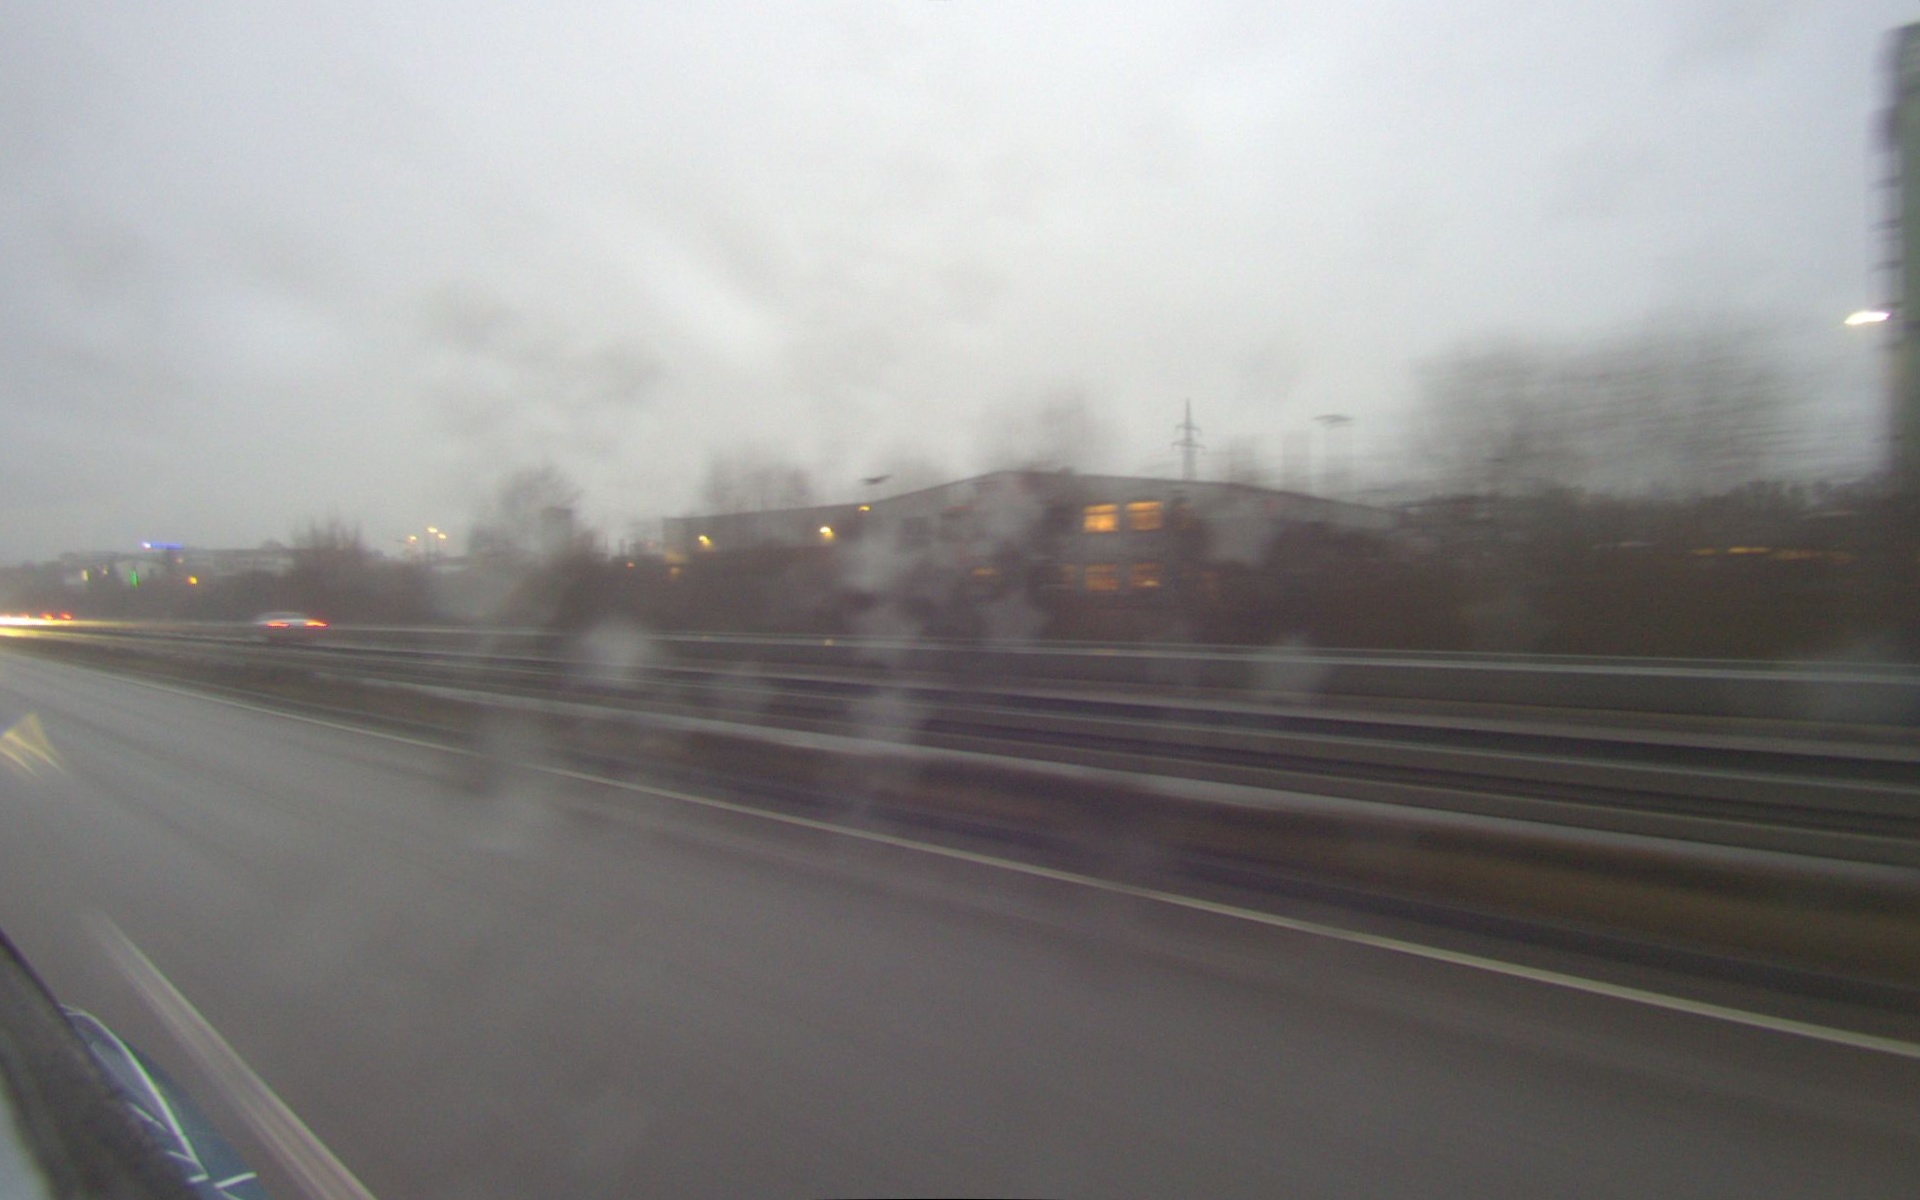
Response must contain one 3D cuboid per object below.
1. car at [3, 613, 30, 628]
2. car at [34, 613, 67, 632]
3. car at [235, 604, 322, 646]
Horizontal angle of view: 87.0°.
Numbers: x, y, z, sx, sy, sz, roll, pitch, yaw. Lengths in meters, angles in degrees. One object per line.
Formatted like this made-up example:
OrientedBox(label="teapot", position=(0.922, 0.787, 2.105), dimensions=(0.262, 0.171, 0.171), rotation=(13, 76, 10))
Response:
OrientedBox(label="car", position=(-96.211, 2.101, 103.218), dimensions=(4.365, 1.486, 1.685), rotation=(0, 0, 42))
OrientedBox(label="car", position=(-76.330, 1.842, 84.908), dimensions=(4.365, 1.486, 1.685), rotation=(0, 0, 42))
OrientedBox(label="car", position=(-27.945, 0.987, 41.467), dimensions=(4.522, 1.639, 1.745), rotation=(-1, -1, 39))
